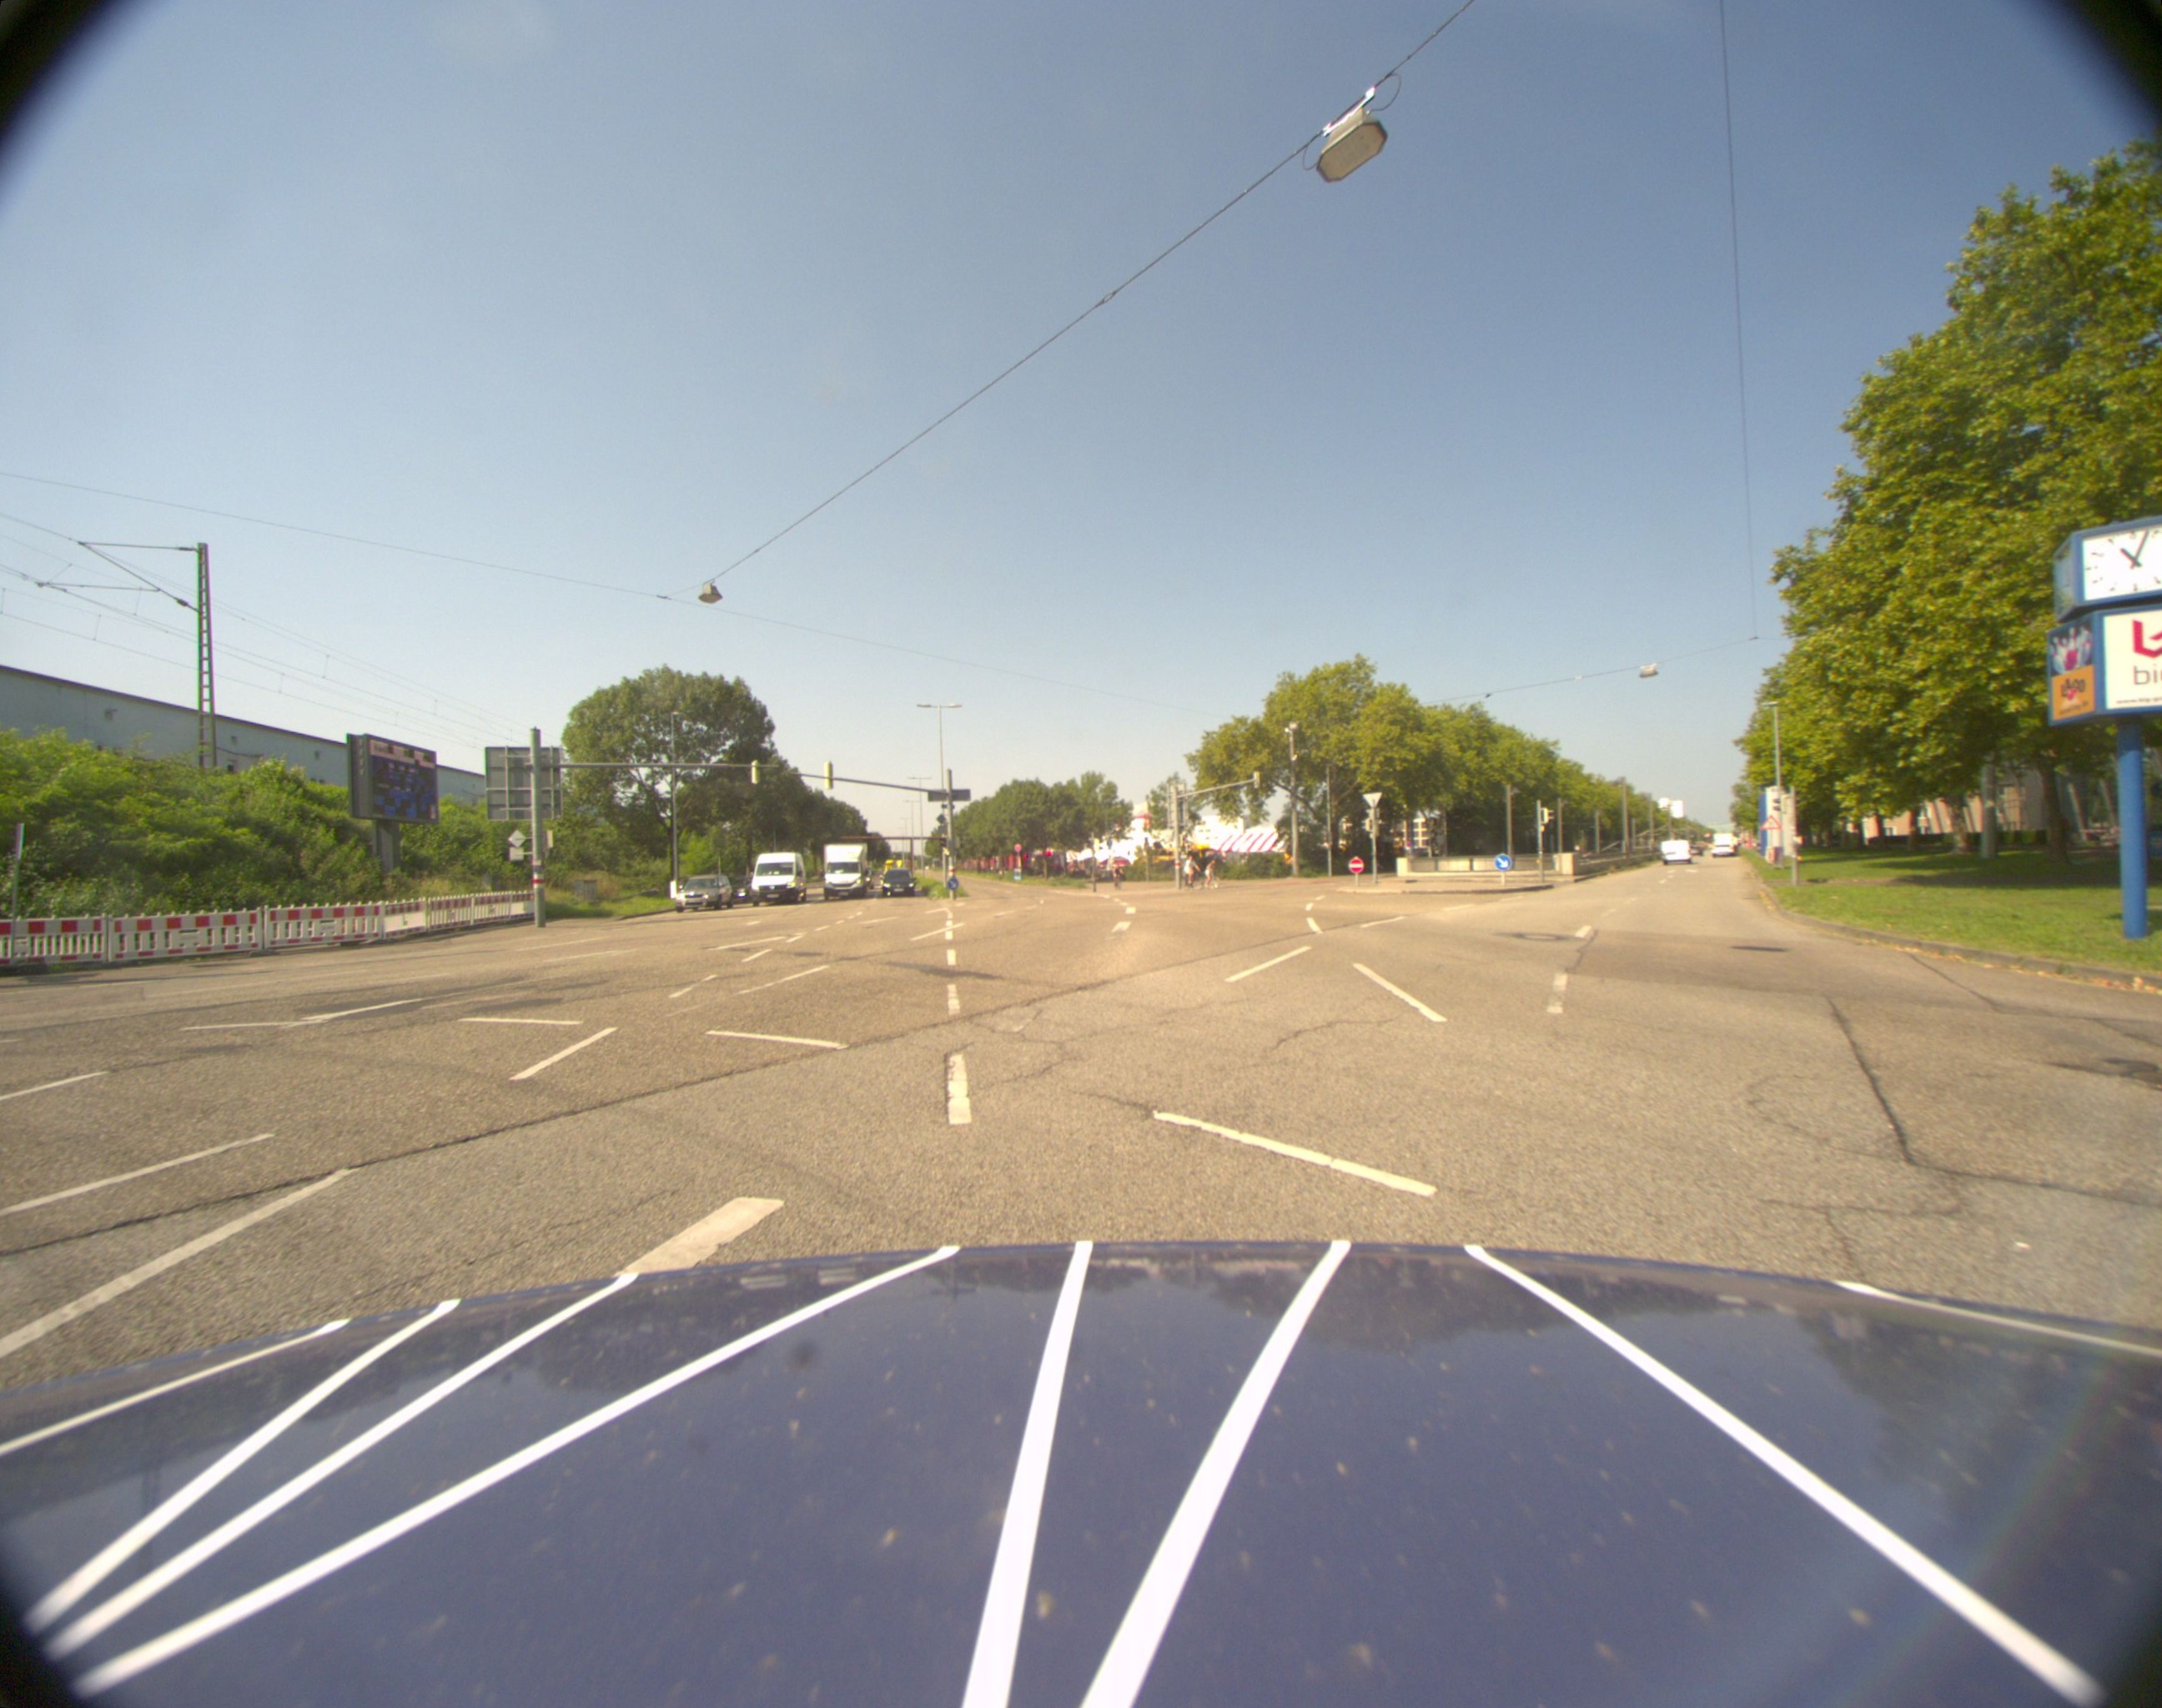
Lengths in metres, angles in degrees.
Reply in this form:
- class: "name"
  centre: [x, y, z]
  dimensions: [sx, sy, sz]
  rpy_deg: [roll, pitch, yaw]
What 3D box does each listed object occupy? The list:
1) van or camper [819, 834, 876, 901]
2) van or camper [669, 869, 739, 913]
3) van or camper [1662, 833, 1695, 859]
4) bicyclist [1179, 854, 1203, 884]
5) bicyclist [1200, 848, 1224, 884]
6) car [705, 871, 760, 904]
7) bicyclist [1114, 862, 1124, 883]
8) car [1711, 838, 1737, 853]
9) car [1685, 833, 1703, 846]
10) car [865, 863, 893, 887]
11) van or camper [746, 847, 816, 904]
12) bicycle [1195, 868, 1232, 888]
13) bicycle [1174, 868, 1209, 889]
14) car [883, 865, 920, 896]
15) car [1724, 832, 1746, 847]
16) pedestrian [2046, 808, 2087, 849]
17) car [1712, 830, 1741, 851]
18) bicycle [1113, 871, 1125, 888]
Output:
- class: "van or camper"
  centre: [-13.079, 0.846, 42.996]
  dimensions: [2.250, 3.341, 6.846]
  rpy_deg: [-3, -2, -12]
- class: "van or camper"
  centre: [-17.030, 1.669, 34.507]
  dimensions: [1.852, 1.765, 4.171]
  rpy_deg: [-3, -2, -13]
- class: "van or camper"
  centre: [48.072, -0.658, 61.201]
  dimensions: [1.842, 1.936, 4.957]
  rpy_deg: [-3, 0, 36]
- class: "bicyclist"
  centre: [6.040, 0.843, 41.767]
  dimensions: [0.598, 1.584, 1.203]
  rpy_deg: [-3, -2, -26]
- class: "bicyclist"
  centre: [7.469, 0.690, 43.377]
  dimensions: [0.599, 2.001, 1.202]
  rpy_deg: [-3, -2, -30]
- class: "car"
  centre: [-18.646, 1.761, 40.804]
  dimensions: [2.001, 1.543, 3.995]
  rpy_deg: [-3, 0, -16]
- class: "bicyclist"
  centre: [2.479, 1.208, 49.098]
  dimensions: [0.502, 1.356, 0.697]
  rpy_deg: [-4, -1, 8]
- class: "car"
  centre: [68.895, -0.933, 81.482]
  dimensions: [1.995, 1.444, 4.008]
  rpy_deg: [-5, -2, 39]
- class: "car"
  centre: [103.856, -2.456, 128.711]
  dimensions: [1.995, 2.001, 4.008]
  rpy_deg: [-5, -2, 35]
- class: "car"
  centre: [-15.442, 1.651, 58.248]
  dimensions: [1.657, 1.654, 3.754]
  rpy_deg: [-4, -2, -9]
- class: "van or camper"
  centre: [-15.045, 1.156, 38.480]
  dimensions: [2.250, 2.467, 6.860]
  rpy_deg: [-3, -2, -14]
- class: "bicycle"
  centre: [7.536, 1.368, 43.382]
  dimensions: [0.774, 1.080, 2.258]
  rpy_deg: [0, -2, -31]
- class: "bicycle"
  centre: [6.052, 1.335, 41.831]
  dimensions: [0.774, 1.081, 2.216]
  rpy_deg: [-2, -1, -25]
- class: "car"
  centre: [-10.415, 1.588, 44.404]
  dimensions: [1.907, 1.603, 5.192]
  rpy_deg: [-3, -2, -12]
- class: "car"
  centre: [98.184, -2.152, 114.065]
  dimensions: [2.287, 2.067, 4.665]
  rpy_deg: [-5, -2, 39]
- class: "pedestrian"
  centre: [50.800, -1.323, 39.192]
  dimensions: [0.947, 2.001, 1.351]
  rpy_deg: [-5, -2, 42]
- class: "car"
  centre: [72.373, -1.504, 85.214]
  dimensions: [2.287, 2.219, 4.665]
  rpy_deg: [-5, -2, 39]
- class: "bicycle"
  centre: [2.471, 1.613, 49.002]
  dimensions: [0.572, 1.049, 1.495]
  rpy_deg: [-5, -2, 7]
